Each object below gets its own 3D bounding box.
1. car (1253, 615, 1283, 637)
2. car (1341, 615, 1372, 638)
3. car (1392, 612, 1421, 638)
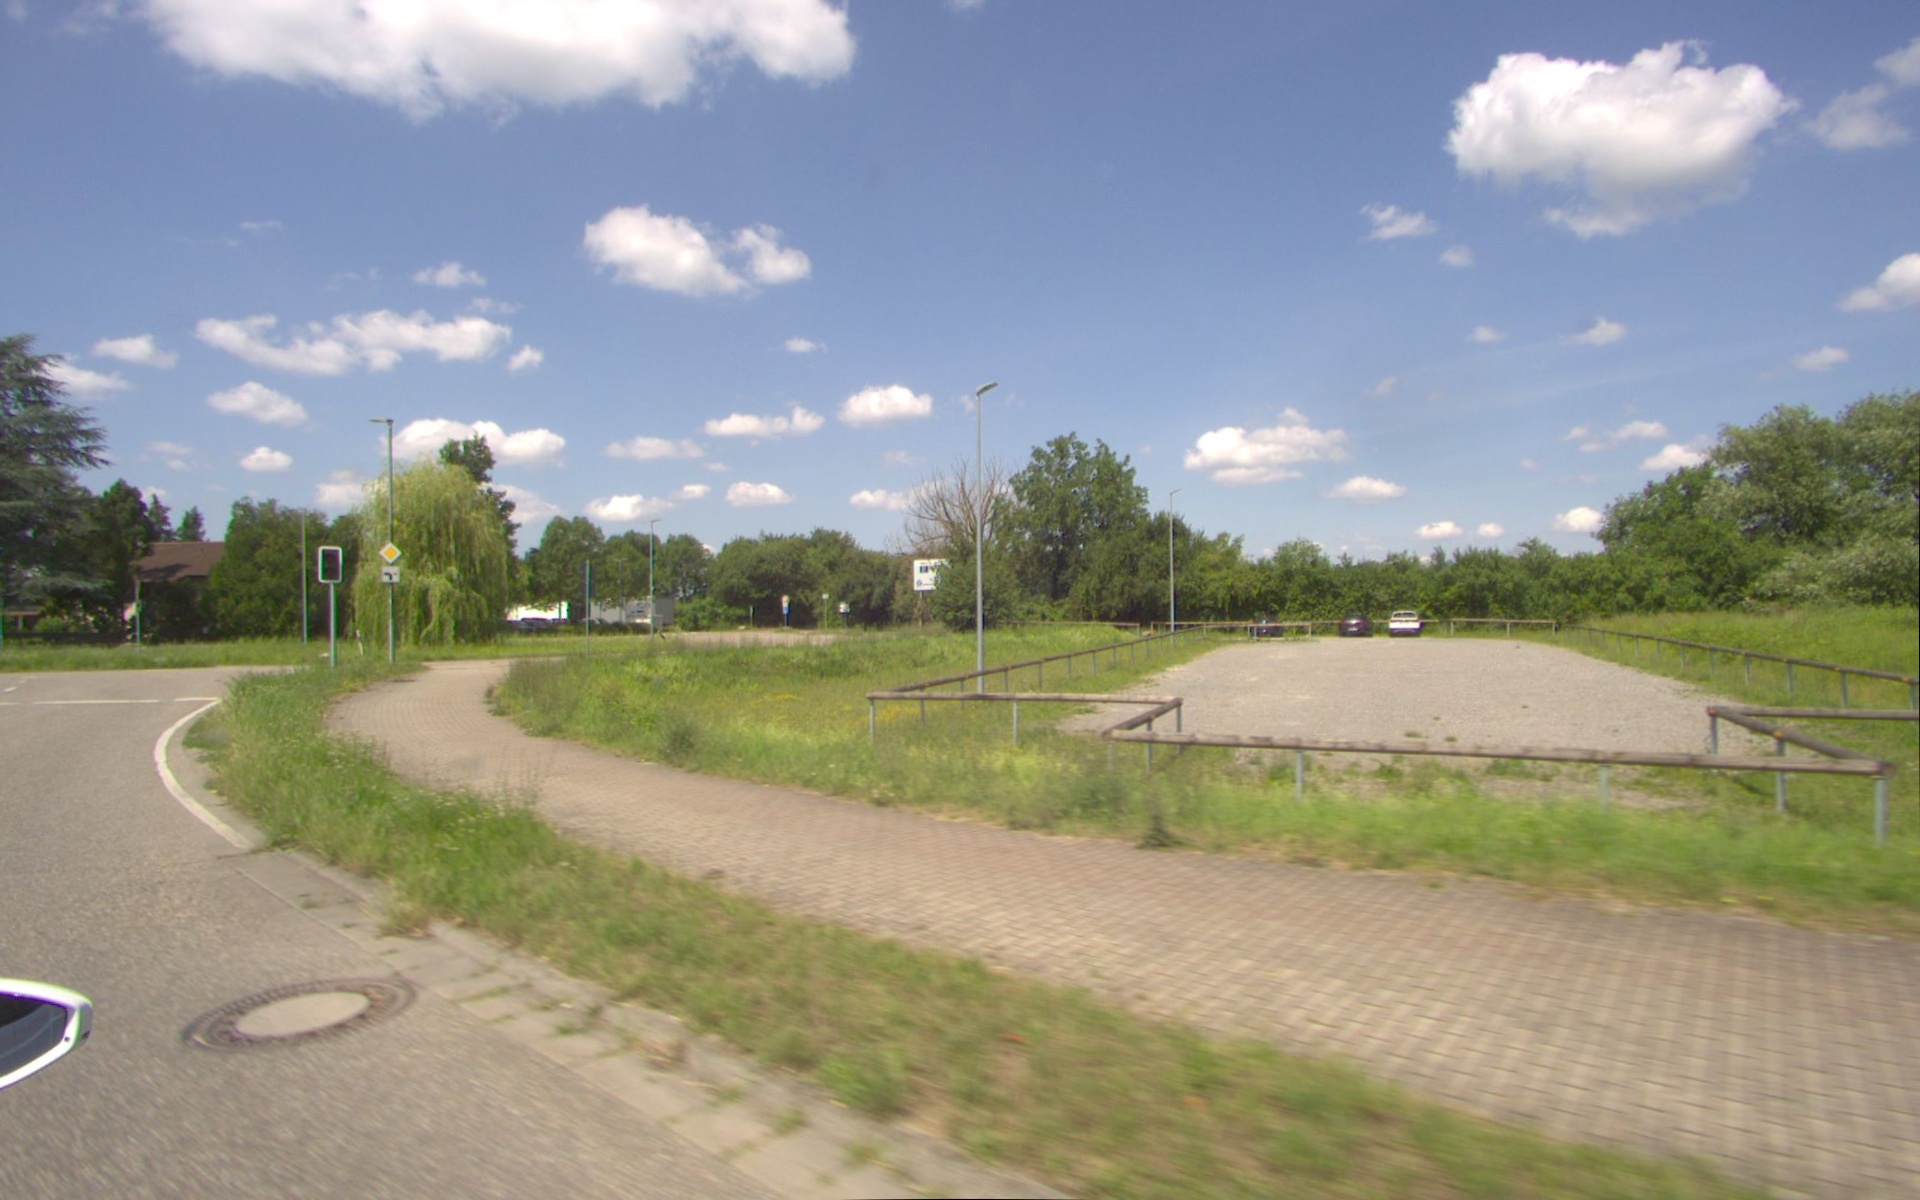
[{"bbox_3d":[19.834,1.698,64.423,1.395,1.354,3.110,-1,-2,25],"label":"car"},{"bbox_3d":[24.396,1.629,61.524,1.397,1.354,3.107,-1,-3,28],"label":"car"},{"bbox_3d":[26.973,1.521,60.477,1.397,1.523,3.107,-1,-2,28],"label":"car"}]
